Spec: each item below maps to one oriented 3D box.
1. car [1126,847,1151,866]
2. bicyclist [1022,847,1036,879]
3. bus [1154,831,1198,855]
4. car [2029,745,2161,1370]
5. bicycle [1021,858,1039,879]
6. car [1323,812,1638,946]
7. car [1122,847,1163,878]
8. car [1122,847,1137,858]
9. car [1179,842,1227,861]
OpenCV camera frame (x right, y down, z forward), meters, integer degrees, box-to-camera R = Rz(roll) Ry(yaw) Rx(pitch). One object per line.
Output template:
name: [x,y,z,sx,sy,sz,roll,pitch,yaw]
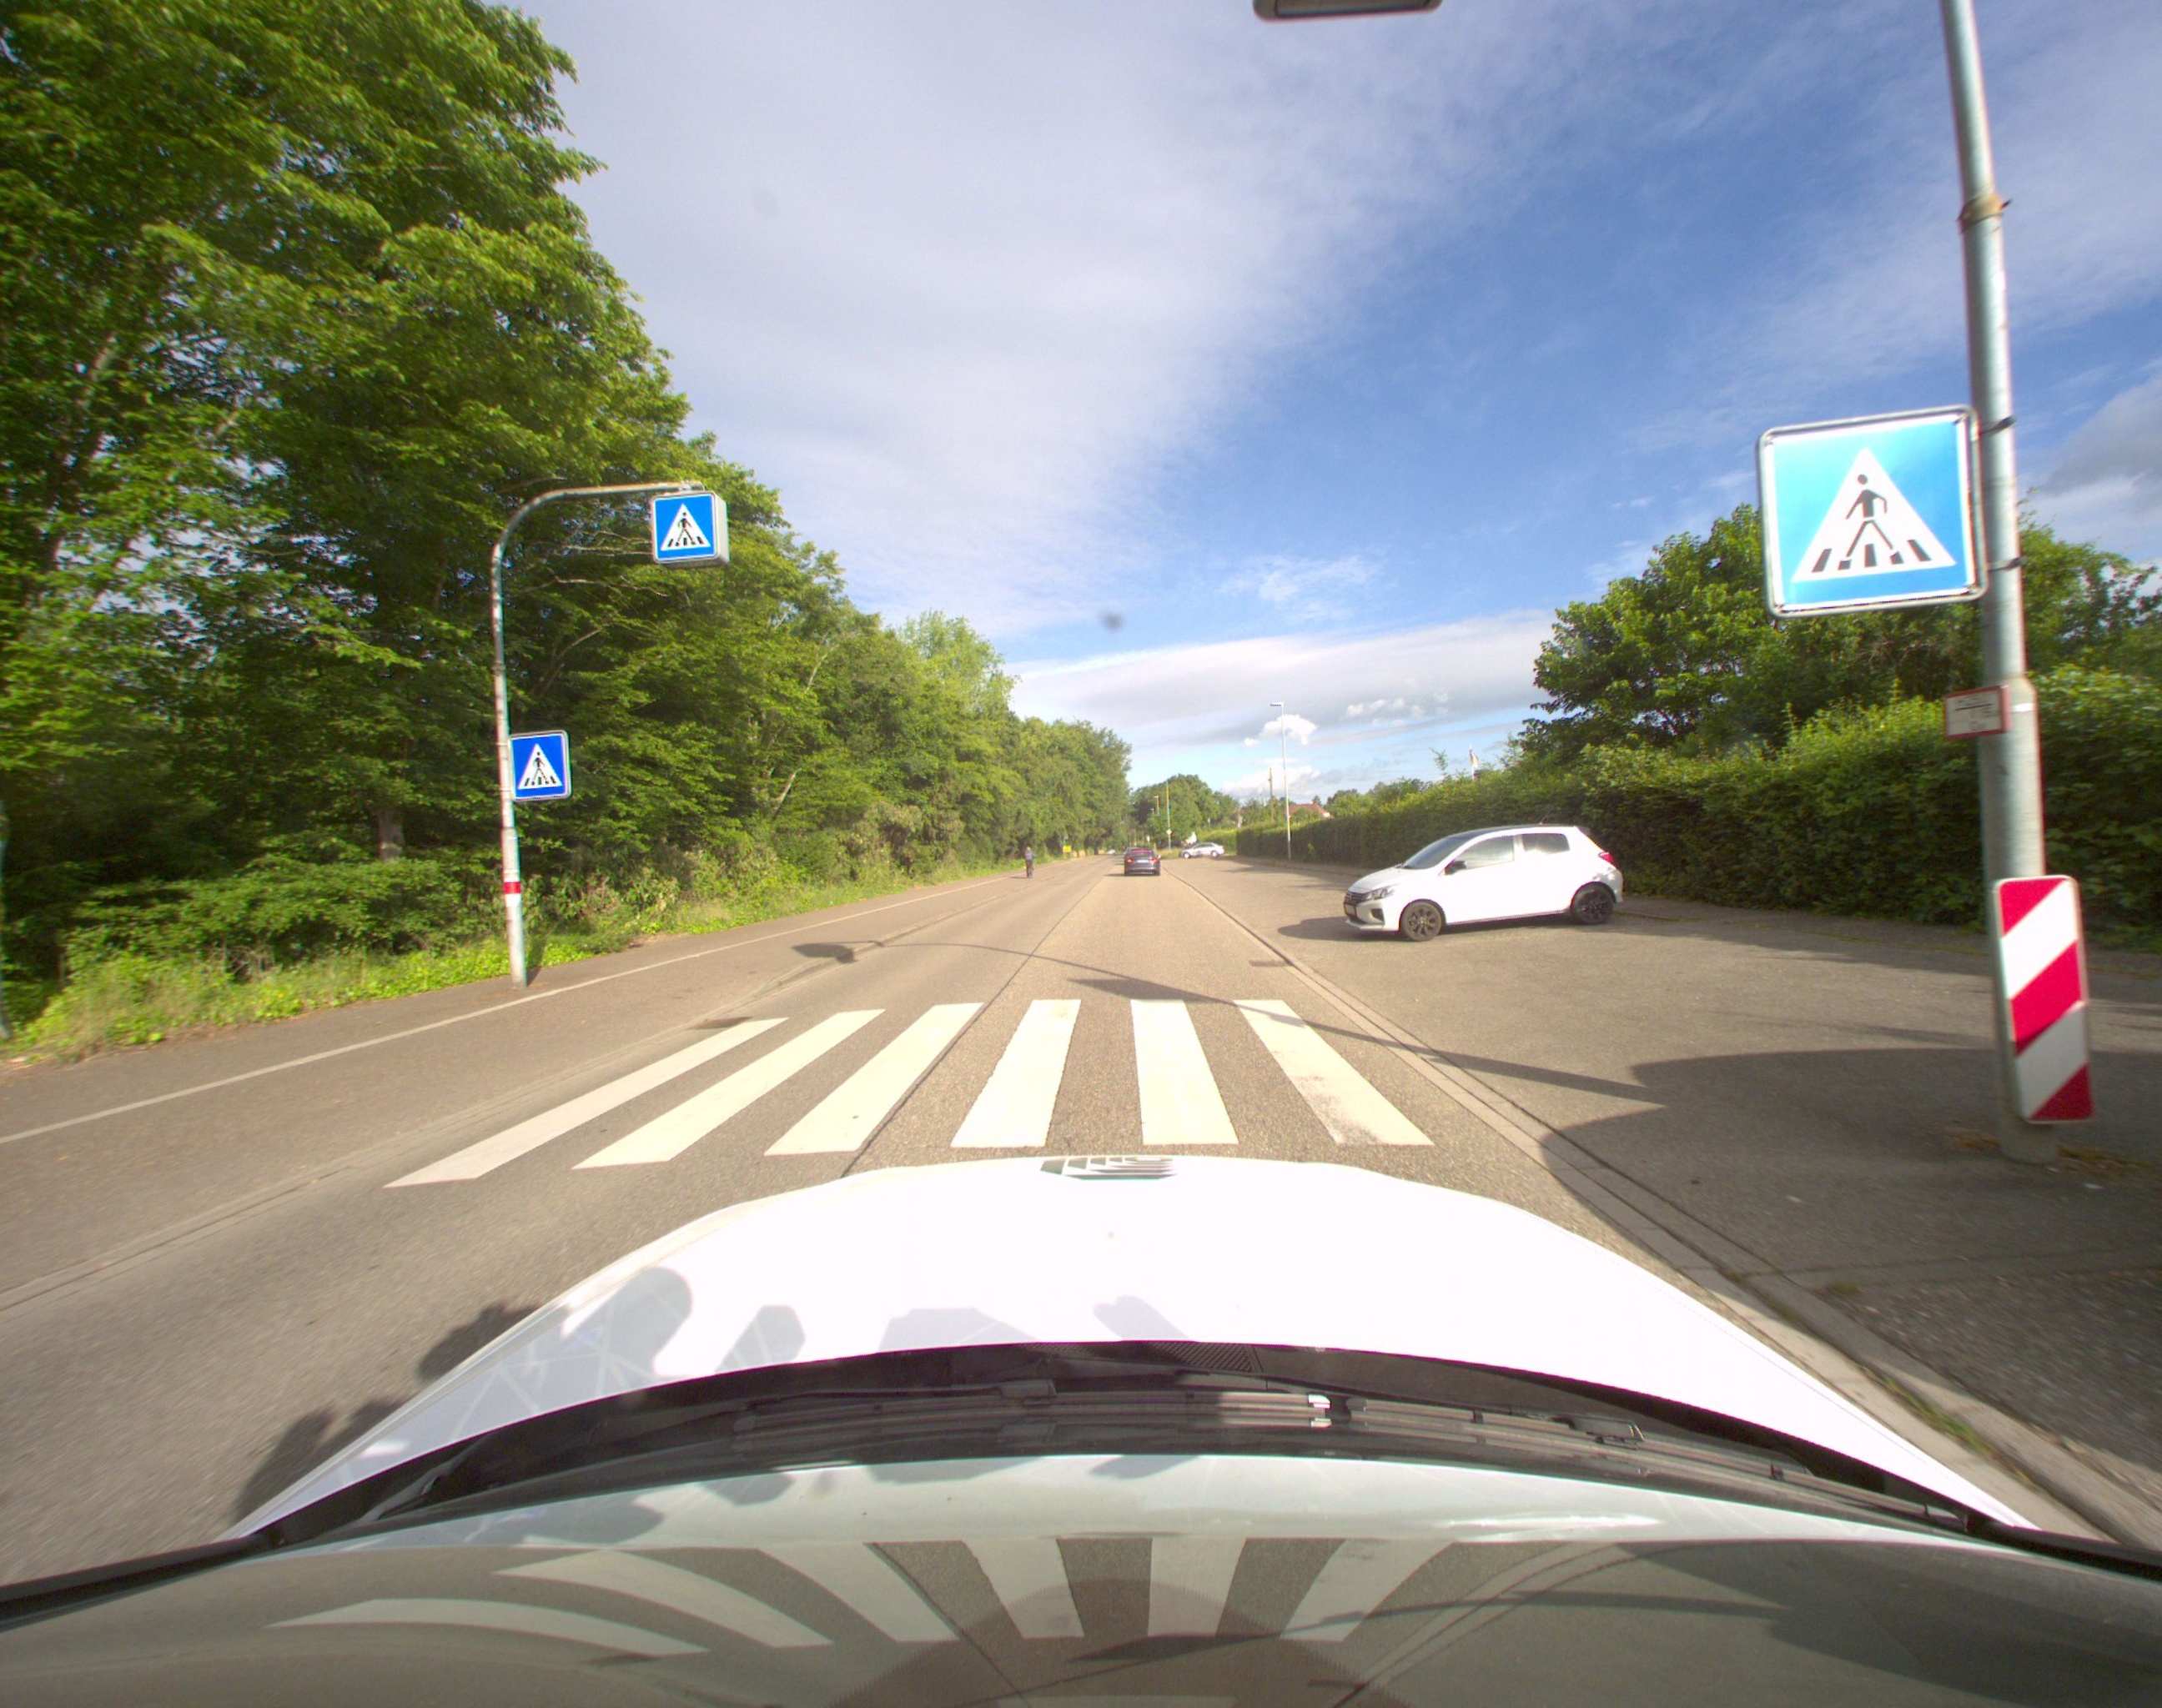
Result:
car: [4.567,0.166,65.470,1.879,1.372,4.058,-3,0,3]
bicyclist: [-2.810,0.490,44.394,0.606,1.676,0.885,-2,0,4]
bus: [12.492,-1.432,107.131,5.347,2.746,2.069,-4,1,0]
car: [5.100,0.366,1.414,4.568,1.699,1.765,-5,0,3]
bicycle: [-2.784,0.788,44.508,0.659,1.097,2.351,-1,1,4]
car: [5.887,0.332,12.330,3.843,1.490,1.693,-6,2,1]
car: [3.223,0.413,42.446,1.957,1.434,4.342,-2,1,4]
car: [6.474,-0.238,108.022,1.879,1.372,4.058,-3,0,3]
car: [11.586,-0.227,77.049,4.335,1.443,1.938,-4,0,10]
